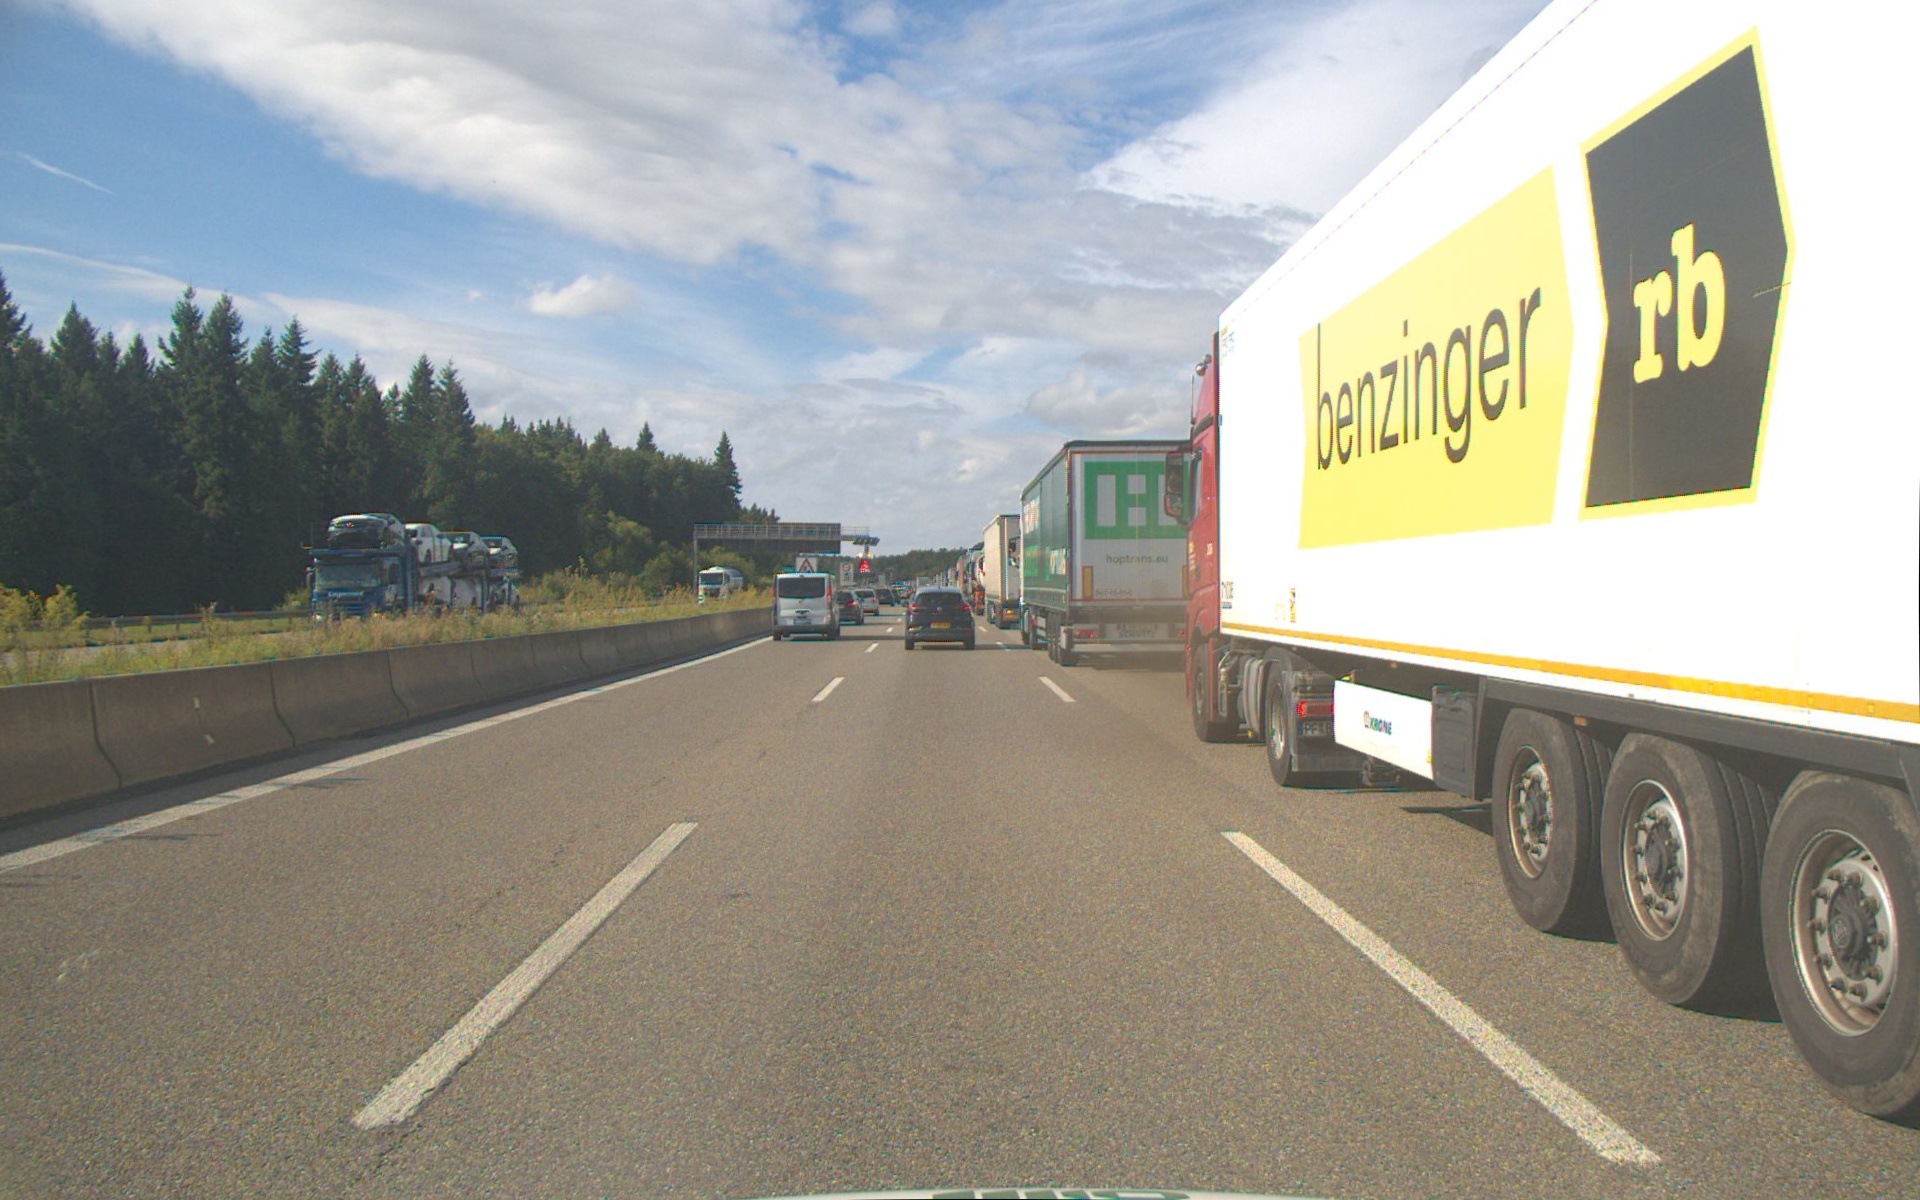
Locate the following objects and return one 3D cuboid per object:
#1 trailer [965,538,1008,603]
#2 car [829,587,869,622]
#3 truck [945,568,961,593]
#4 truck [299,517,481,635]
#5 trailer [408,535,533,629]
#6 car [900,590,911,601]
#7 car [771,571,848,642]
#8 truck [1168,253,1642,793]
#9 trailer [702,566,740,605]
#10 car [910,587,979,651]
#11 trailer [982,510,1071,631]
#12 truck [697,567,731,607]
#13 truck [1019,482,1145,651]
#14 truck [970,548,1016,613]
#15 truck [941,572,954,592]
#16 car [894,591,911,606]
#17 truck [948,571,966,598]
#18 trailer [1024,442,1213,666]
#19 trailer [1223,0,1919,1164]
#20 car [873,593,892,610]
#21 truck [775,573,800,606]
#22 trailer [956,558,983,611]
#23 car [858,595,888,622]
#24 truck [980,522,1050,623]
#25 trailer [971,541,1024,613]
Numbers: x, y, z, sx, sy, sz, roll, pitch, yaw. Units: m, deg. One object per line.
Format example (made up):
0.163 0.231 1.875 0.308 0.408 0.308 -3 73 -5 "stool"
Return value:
1.820 -1.997 116.380 2.745 4.318 11.055 -1 0 0 "trailer"
-4.672 0.191 69.851 1.469 1.420 3.475 1 0 -1 "car"
-0.928 -2.486 215.614 1.953 3.105 4.981 3 0 0 "truck"
-19.739 -0.768 58.133 2.774 3.753 11.129 0 0 -1 "truck"
-19.993 -0.685 68.191 2.742 3.590 8.950 0 0 -2 "trailer"
-6.685 -0.537 203.599 1.333 1.323 3.084 3 0 -1 "car"
-4.586 0.187 51.052 1.894 2.013 5.097 3 0 -1 "car"
3.701 -0.574 15.295 2.745 4.008 5.825 1 0 -1 "truck"
-21.449 -1.280 148.608 2.275 3.342 10.870 0 0 -2 "trailer"
-0.418 0.462 42.572 1.662 1.509 4.159 1 0 -1 "car"
2.400 -1.075 63.650 2.648 4.153 12.942 -1 0 -1 "trailer"
-21.224 -1.113 143.035 2.271 3.331 6.101 0 0 -3 "truck"
2.981 -0.793 42.150 2.593 3.936 6.995 0 0 -1 "truck"
1.894 -1.111 97.499 2.482 3.646 6.728 -1 0 -1 "truck"
-1.949 -2.822 259.893 1.953 3.105 4.981 3 0 0 "truck"
-5.289 -0.121 152.489 1.406 1.333 3.532 3 0 -1 "car"
-0.353 -1.759 188.249 1.953 2.983 4.981 3 0 0 "truck"
3.054 -0.822 35.837 2.607 3.936 13.392 0 0 -1 "trailer"
3.791 -0.550 8.115 2.735 4.007 13.067 1 0 -1 "trailer"
-6.219 0.127 132.967 1.406 1.333 3.532 3 0 -1 "car"
-23.631 -1.393 227.134 2.656 4.318 10.340 -1 0 -2 "truck"
0.763 -1.306 139.883 2.106 4.333 8.439 0 0 0 "trailer"
-4.793 0.453 91.122 1.470 1.420 3.475 3 0 -1 "car"
2.284 -1.139 71.196 2.653 4.130 6.360 -1 0 -1 "truck"
1.991 -1.188 91.294 2.489 3.717 10.624 -1 0 -1 "trailer"
